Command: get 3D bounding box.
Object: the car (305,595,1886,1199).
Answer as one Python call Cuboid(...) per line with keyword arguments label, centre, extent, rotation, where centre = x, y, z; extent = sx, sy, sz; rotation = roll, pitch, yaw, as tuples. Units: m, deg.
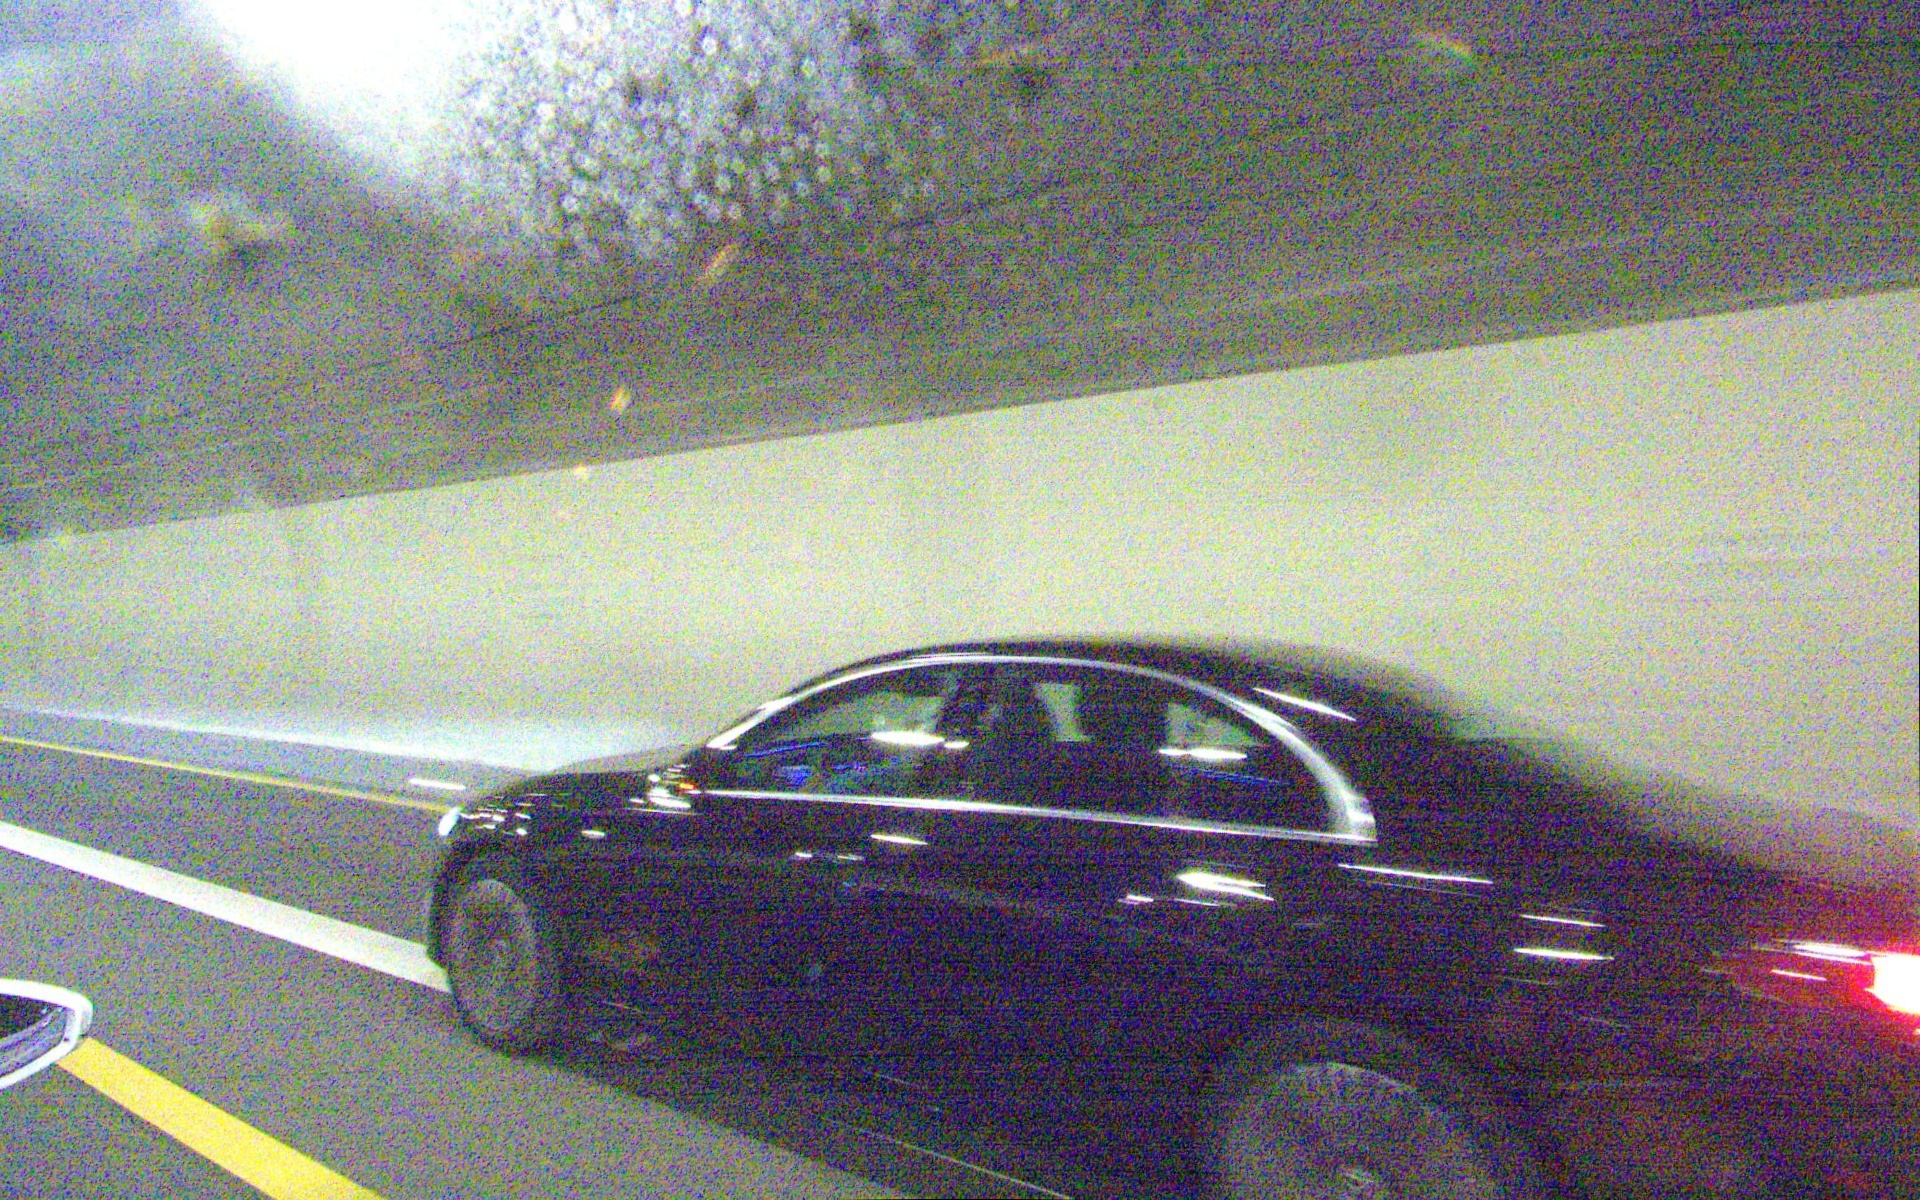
Cuboid(label="car", centre=(-0.144, 0.828, 3.658), extent=(4.884, 1.491, 1.923), rotation=(-1, -3, 33))
